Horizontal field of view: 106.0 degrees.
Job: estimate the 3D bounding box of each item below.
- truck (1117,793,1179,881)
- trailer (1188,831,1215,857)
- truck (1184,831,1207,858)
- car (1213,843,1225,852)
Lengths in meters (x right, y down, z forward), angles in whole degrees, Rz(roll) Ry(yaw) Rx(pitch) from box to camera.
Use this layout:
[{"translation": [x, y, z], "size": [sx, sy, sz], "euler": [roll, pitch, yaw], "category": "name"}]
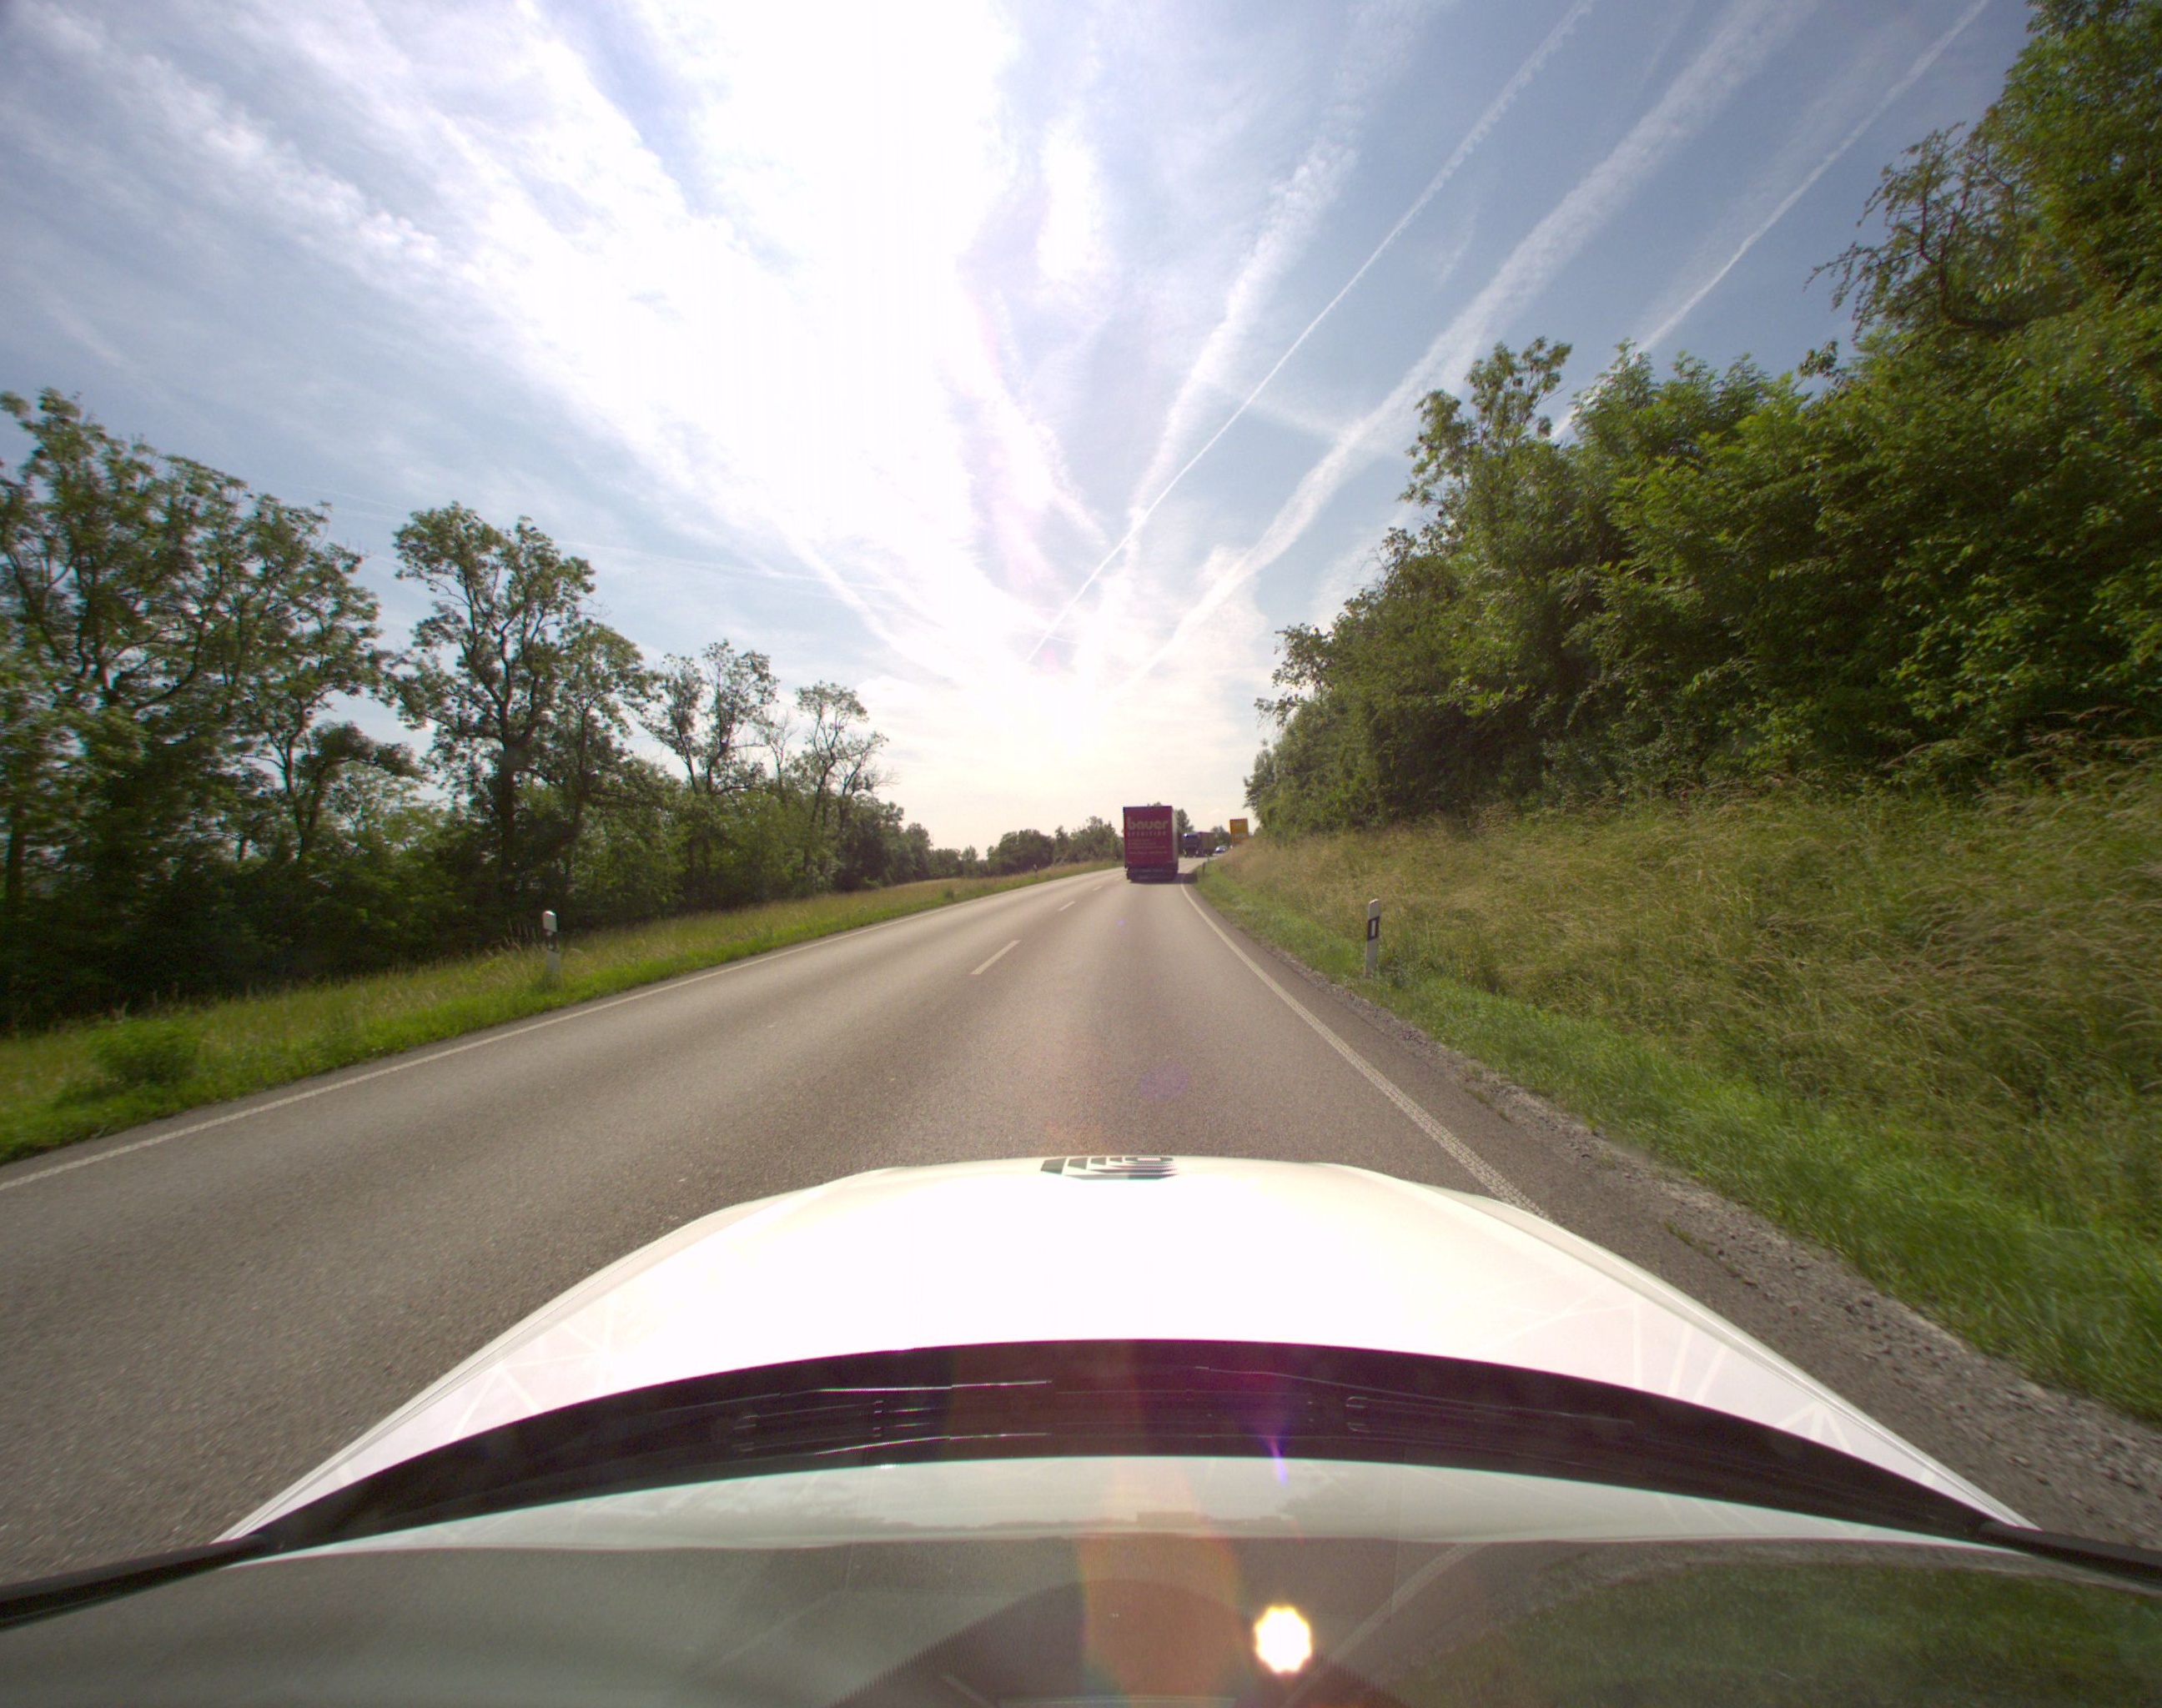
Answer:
[{"translation": [4.165, -0.915, 47.736], "size": [3.095, 4.505, 12.192], "euler": [0, 0, 7], "category": "truck"}, {"translation": [20.193, -1.528, 136.033], "size": [2.975, 4.043, 12.968], "euler": [-2, 0, 15], "category": "trailer"}, {"translation": [18.050, -1.483, 127.957], "size": [2.786, 4.067, 6.009], "euler": [-2, 0, 15], "category": "truck"}, {"translation": [26.314, -1.304, 155.198], "size": [1.849, 1.485, 4.377], "euler": [-6, 0, 15], "category": "car"}]
